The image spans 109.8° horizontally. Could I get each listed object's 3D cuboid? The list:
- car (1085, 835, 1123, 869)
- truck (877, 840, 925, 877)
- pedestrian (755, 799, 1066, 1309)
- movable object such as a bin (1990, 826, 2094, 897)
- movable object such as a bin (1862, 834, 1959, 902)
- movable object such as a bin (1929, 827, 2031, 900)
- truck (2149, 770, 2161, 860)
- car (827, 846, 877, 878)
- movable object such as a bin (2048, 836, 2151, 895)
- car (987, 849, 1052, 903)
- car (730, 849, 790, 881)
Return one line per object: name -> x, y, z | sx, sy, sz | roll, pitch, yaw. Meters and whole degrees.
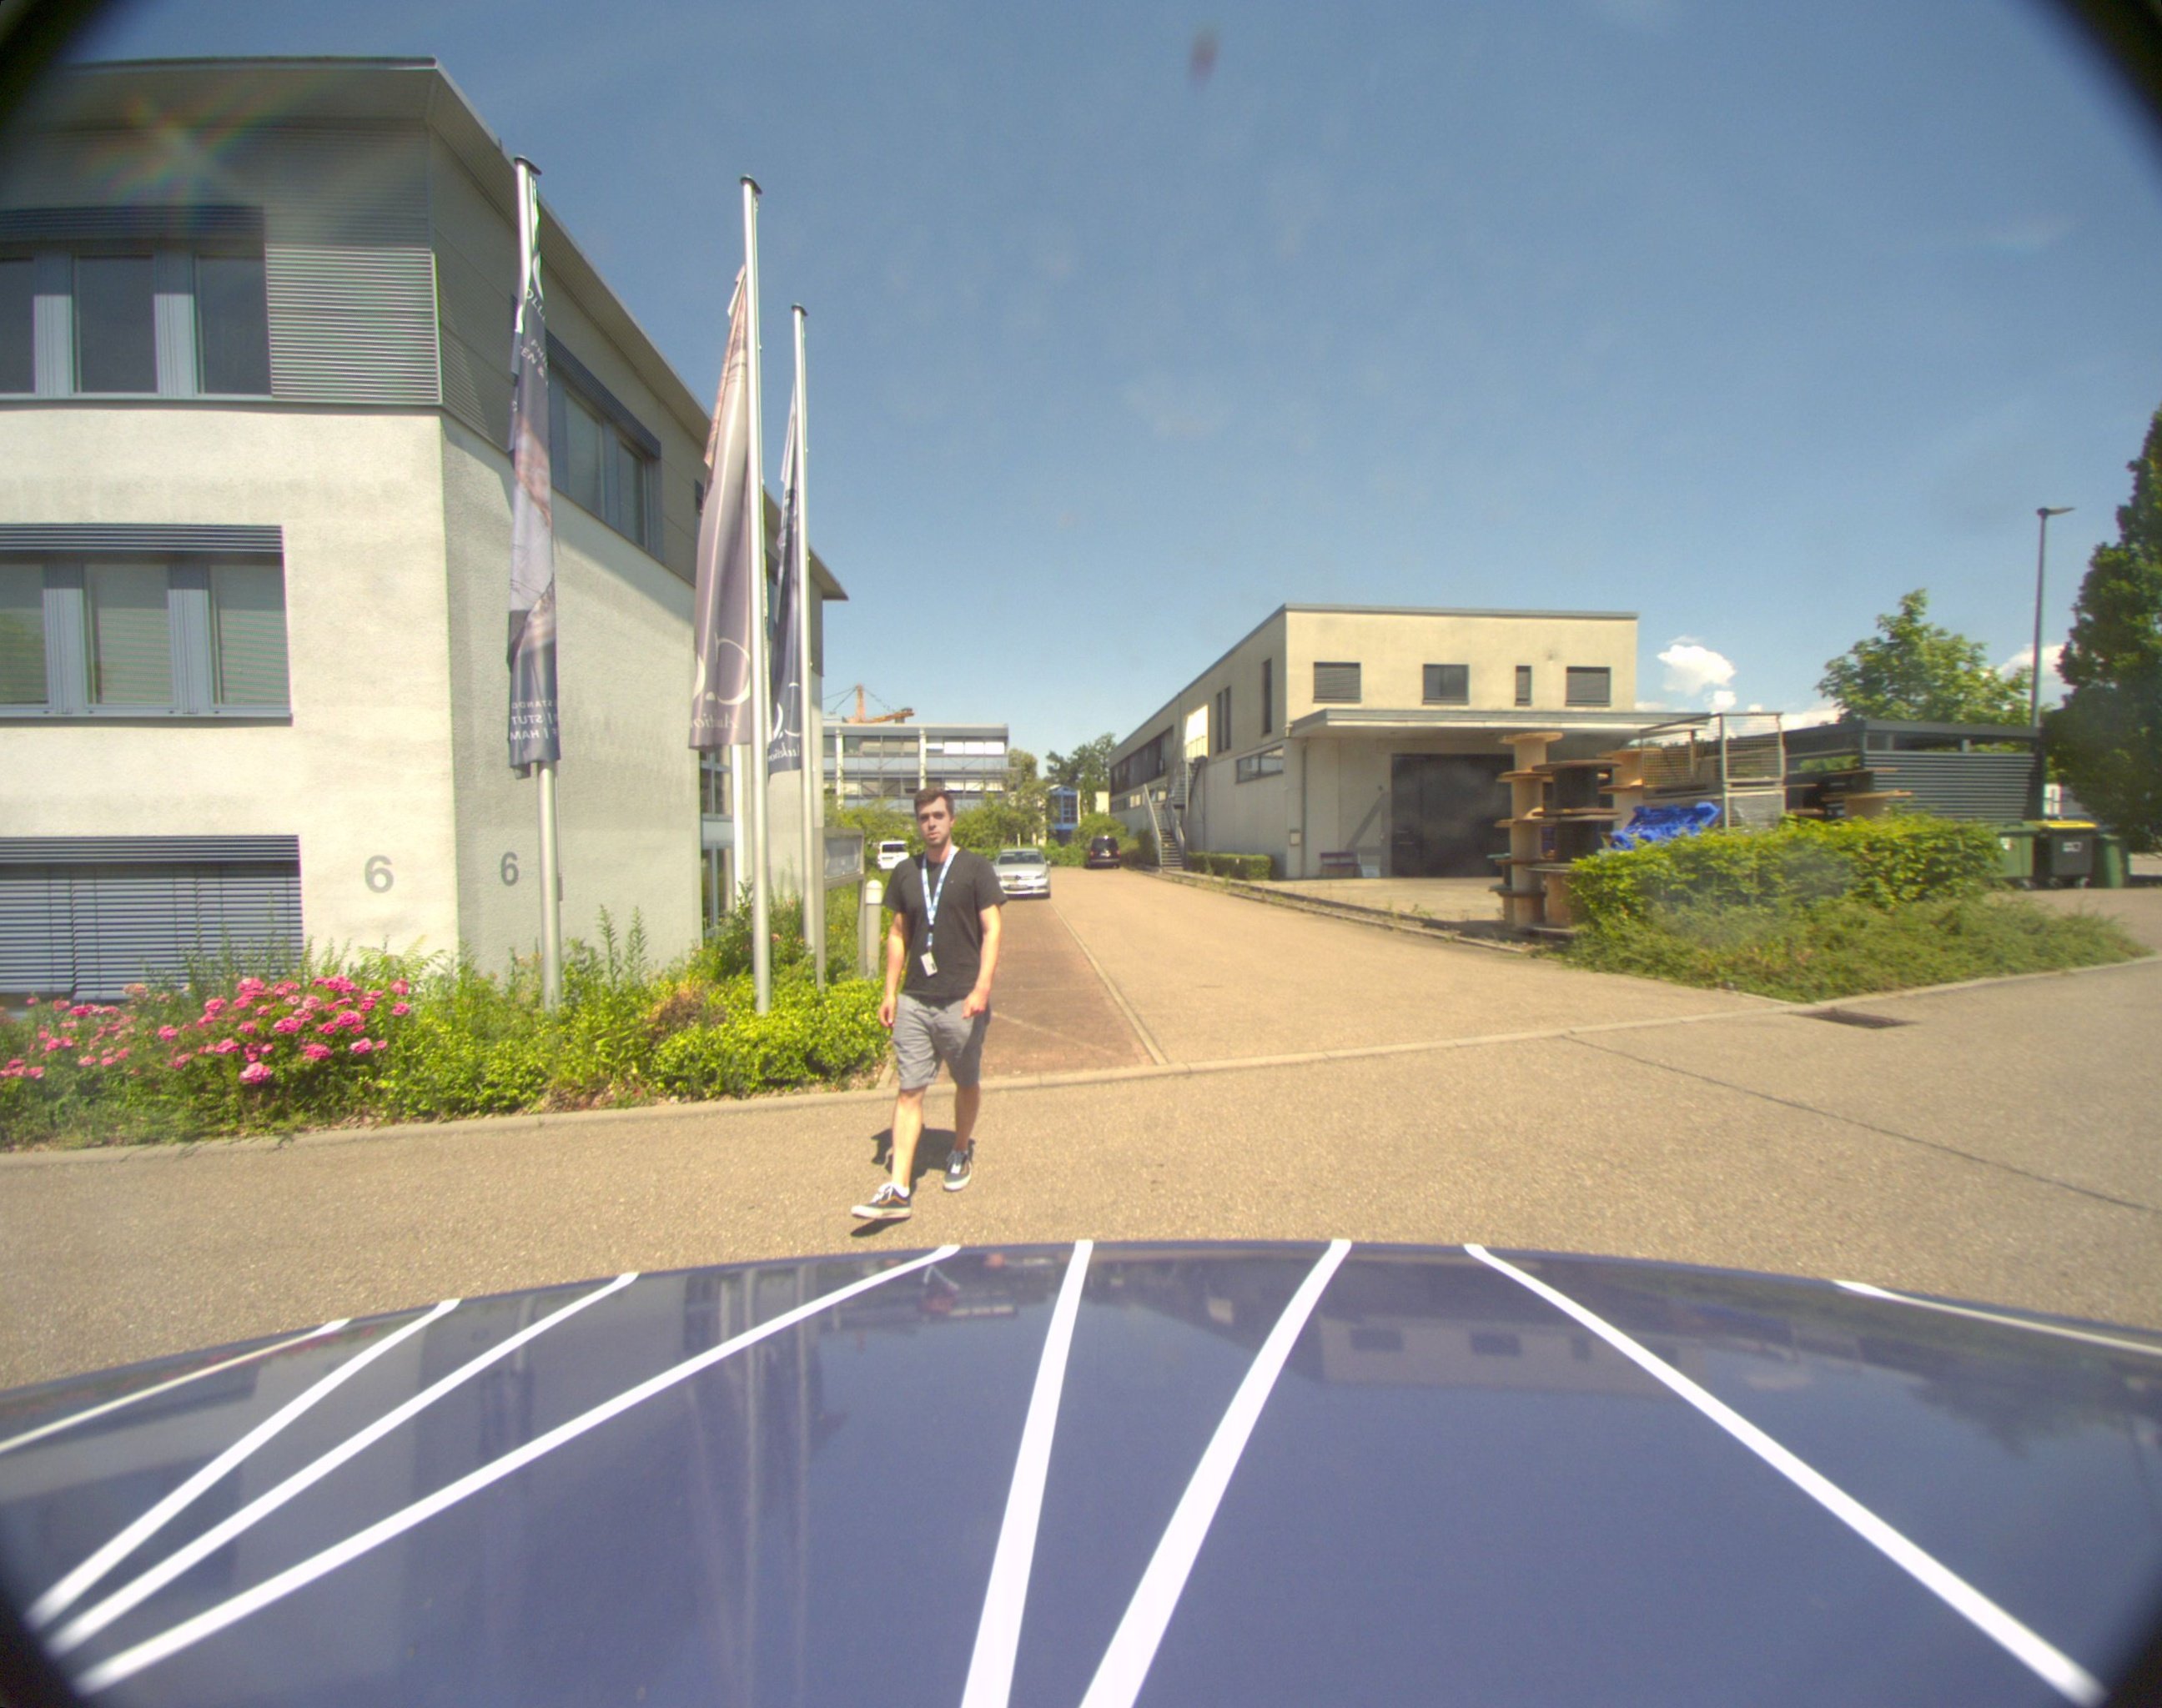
car -> 1.250, -0.151, 43.446 | 1.788, 1.794, 3.997 | -2, 2, -3
truck -> -9.770, 0.198, 41.540 | 2.000, 1.883, 3.997 | -2, 1, -7
pedestrian -> -0.678, 0.707, 3.258 | 0.858, 1.810, 0.906 | -1, 2, 24
movable object such as a bin -> 18.722, 0.133, 14.827 | 1.072, 1.329, 0.760 | -2, 2, -1
movable object such as a bin -> 16.131, 0.260, 14.794 | 1.072, 1.264, 0.760 | -2, 2, -1
movable object such as a bin -> 17.375, 0.174, 14.701 | 1.072, 1.329, 0.760 | -2, 2, -1
truck -> 34.859, -1.238, 21.746 | 5.696, 2.657, 2.417 | -2, 1, -5
car -> -12.600, 0.400, 41.959 | 1.788, 1.537, 3.997 | -2, 2, -5
movable object such as a bin -> 19.832, 0.214, 14.812 | 0.987, 1.078, 0.760 | -2, 2, -1
car -> -1.737, 0.588, 22.571 | 1.711, 1.383, 3.809 | -1, 1, -2
car -> -17.486, 0.574, 41.571 | 1.788, 1.537, 3.997 | -2, 2, -5
